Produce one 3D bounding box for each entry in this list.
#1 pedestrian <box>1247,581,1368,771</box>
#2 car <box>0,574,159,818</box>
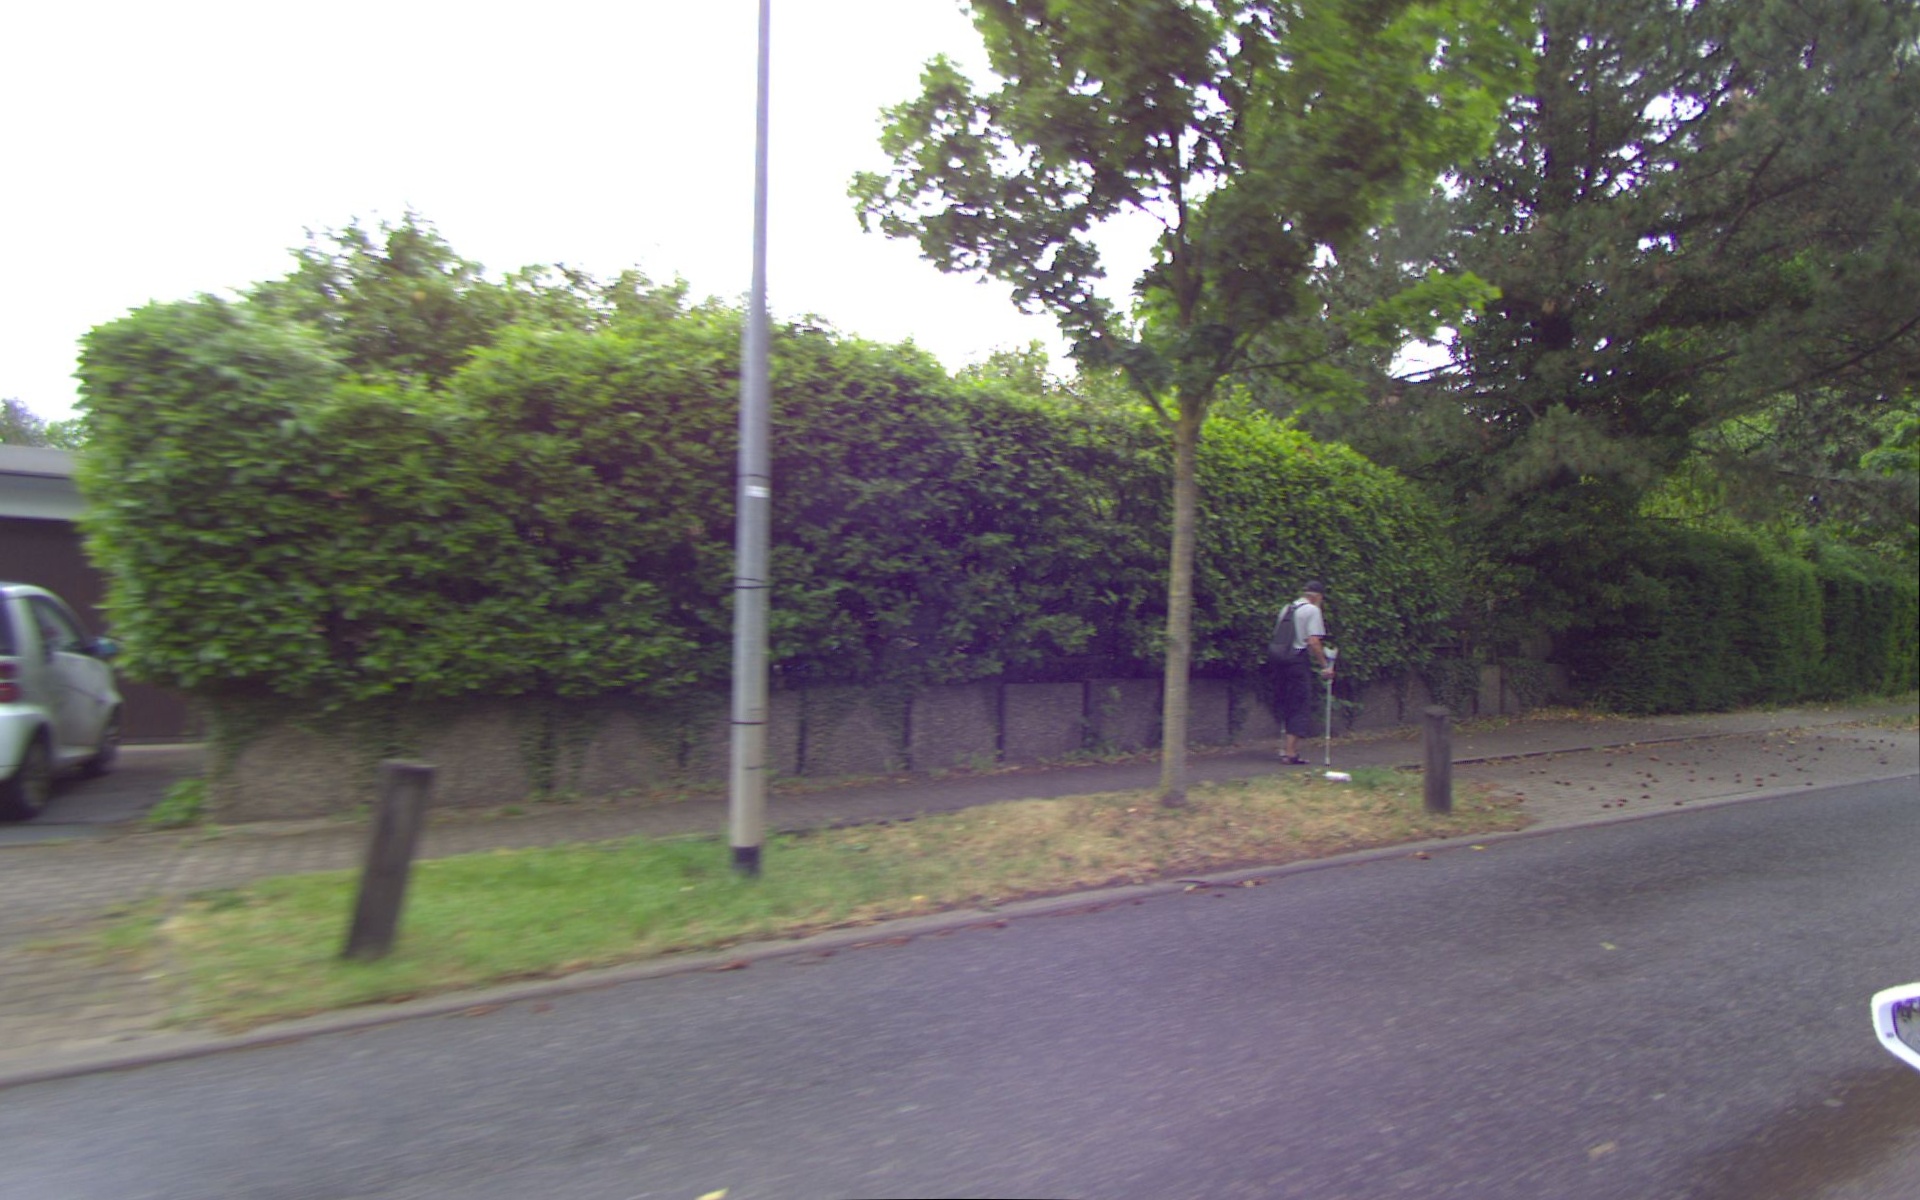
[{"bbox_3d":[3.274,0.674,9.457,0.837,1.684,0.769,1,0,-44],"label":"pedestrian"},{"bbox_3d":[-7.338,0.590,7.508,1.712,1.539,3.384,2,-1,-32],"label":"car"}]
